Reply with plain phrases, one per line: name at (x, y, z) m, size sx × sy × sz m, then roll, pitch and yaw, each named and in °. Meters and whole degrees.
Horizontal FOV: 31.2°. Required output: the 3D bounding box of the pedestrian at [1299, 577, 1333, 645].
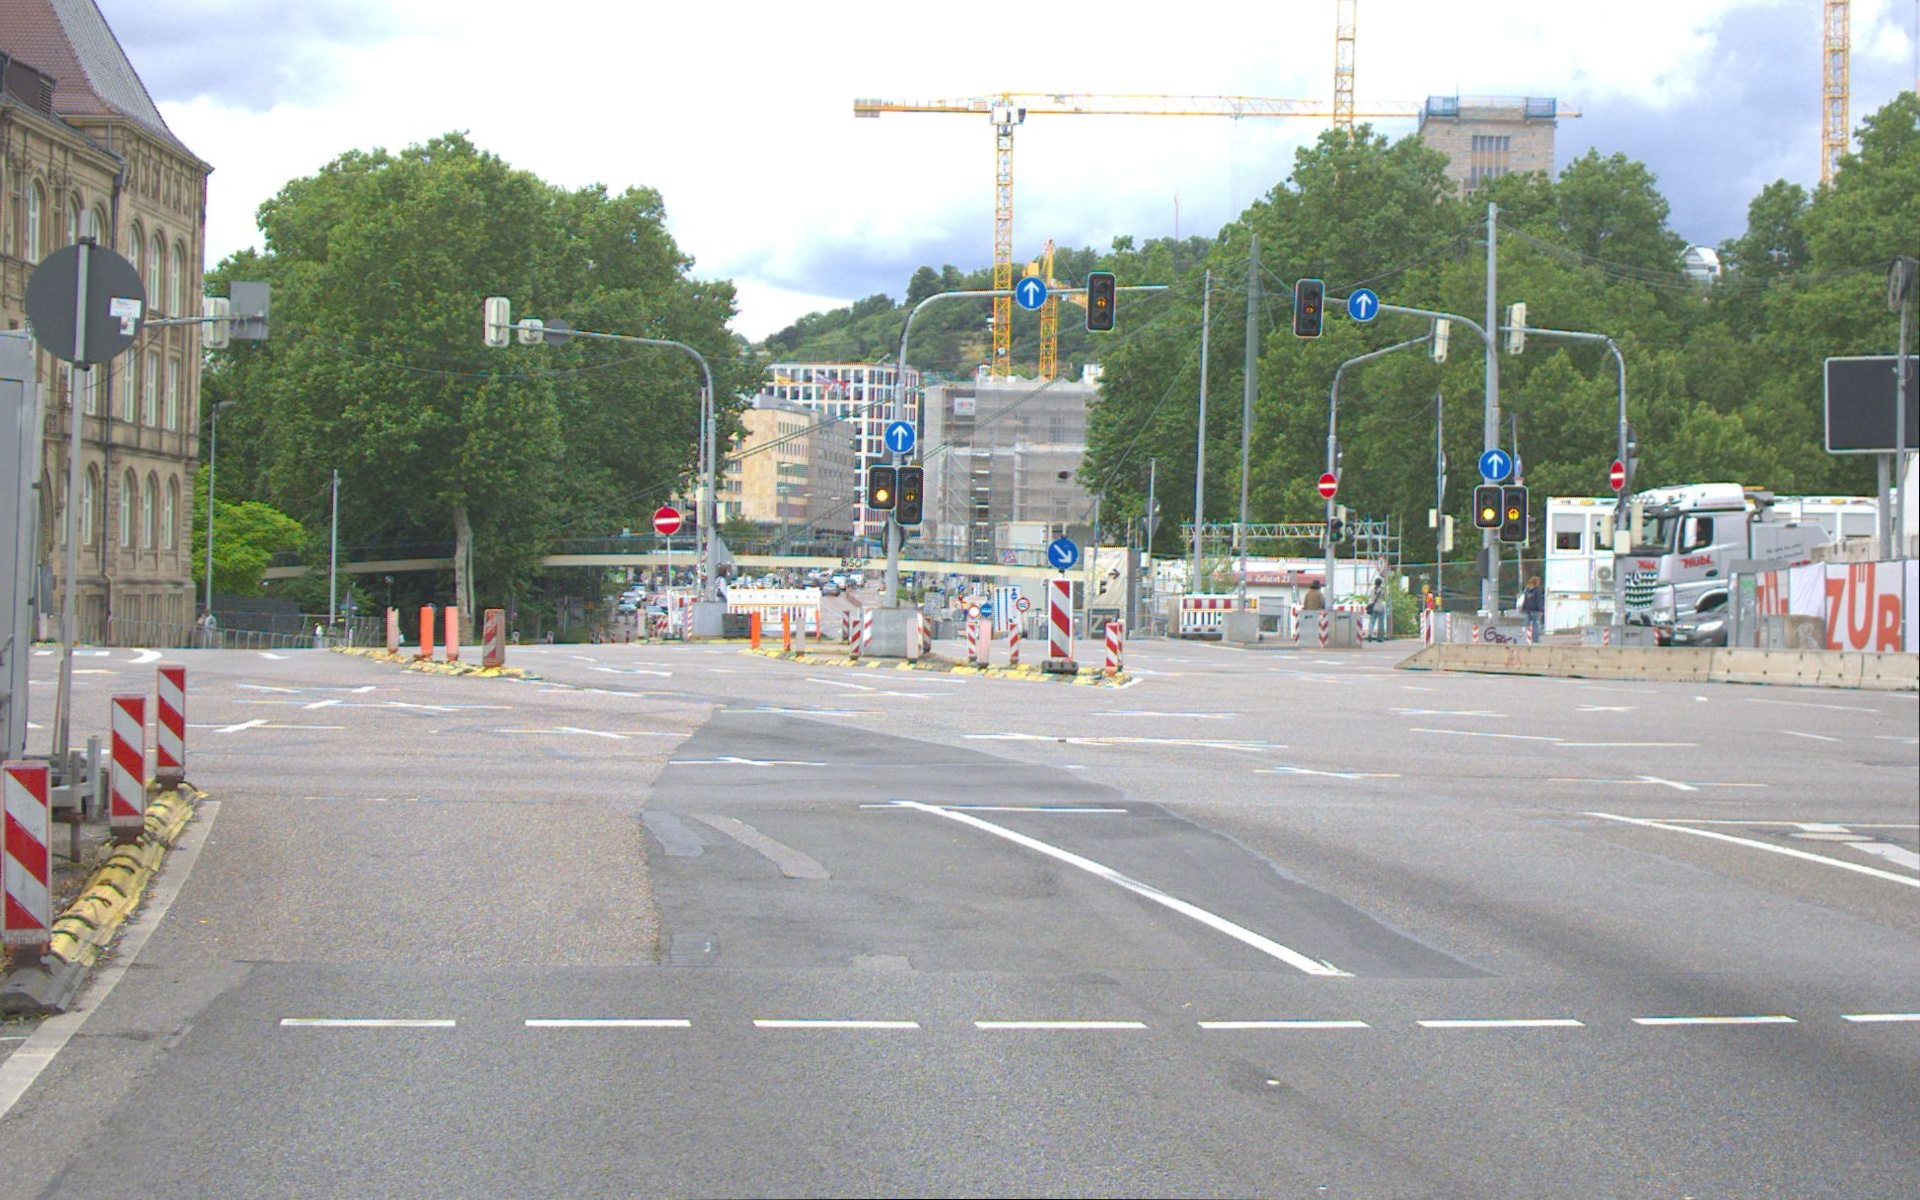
pedestrian at (8.982, 0.283, 86.749) m, size 0.729 × 1.683 × 0.678 m, roll 1°, pitch 1°, yaw -1°

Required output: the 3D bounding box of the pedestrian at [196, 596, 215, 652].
pedestrian at (-27.405, 0.868, 124.857) m, size 0.524 × 2.007 × 0.567 m, roll 1°, pitch 1°, yaw 0°

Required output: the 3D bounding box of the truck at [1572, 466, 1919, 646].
truck at (21.363, -0.992, 82.009) m, size 13.022 × 4.027 × 3.952 m, roll 1°, pitch 1°, yaw -20°

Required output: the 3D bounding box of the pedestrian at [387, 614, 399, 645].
pedestrian at (-29.573, 1.554, 179.257) m, size 0.536 × 1.587 × 0.516 m, roll 1°, pitch 1°, yaw -4°

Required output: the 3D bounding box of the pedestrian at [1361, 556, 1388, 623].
pedestrian at (10.509, -0.269, 87.146) m, size 0.566 × 1.683 × 0.472 m, roll 1°, pitch 1°, yaw -1°

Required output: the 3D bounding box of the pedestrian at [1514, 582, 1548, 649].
pedestrian at (14.472, 0.392, 87.117) m, size 0.622 × 1.683 × 0.710 m, roll 2°, pitch 1°, yaw 29°

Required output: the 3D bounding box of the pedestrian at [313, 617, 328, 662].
pedestrian at (-28.689, 1.780, 154.268) m, size 0.524 × 2.007 × 0.567 m, roll 1°, pitch 1°, yaw 0°

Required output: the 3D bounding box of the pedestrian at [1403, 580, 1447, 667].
pedestrian at (9.134, 0.459, 67.563) m, size 0.729 × 1.683 × 0.678 m, roll 1°, pitch 1°, yaw -1°
